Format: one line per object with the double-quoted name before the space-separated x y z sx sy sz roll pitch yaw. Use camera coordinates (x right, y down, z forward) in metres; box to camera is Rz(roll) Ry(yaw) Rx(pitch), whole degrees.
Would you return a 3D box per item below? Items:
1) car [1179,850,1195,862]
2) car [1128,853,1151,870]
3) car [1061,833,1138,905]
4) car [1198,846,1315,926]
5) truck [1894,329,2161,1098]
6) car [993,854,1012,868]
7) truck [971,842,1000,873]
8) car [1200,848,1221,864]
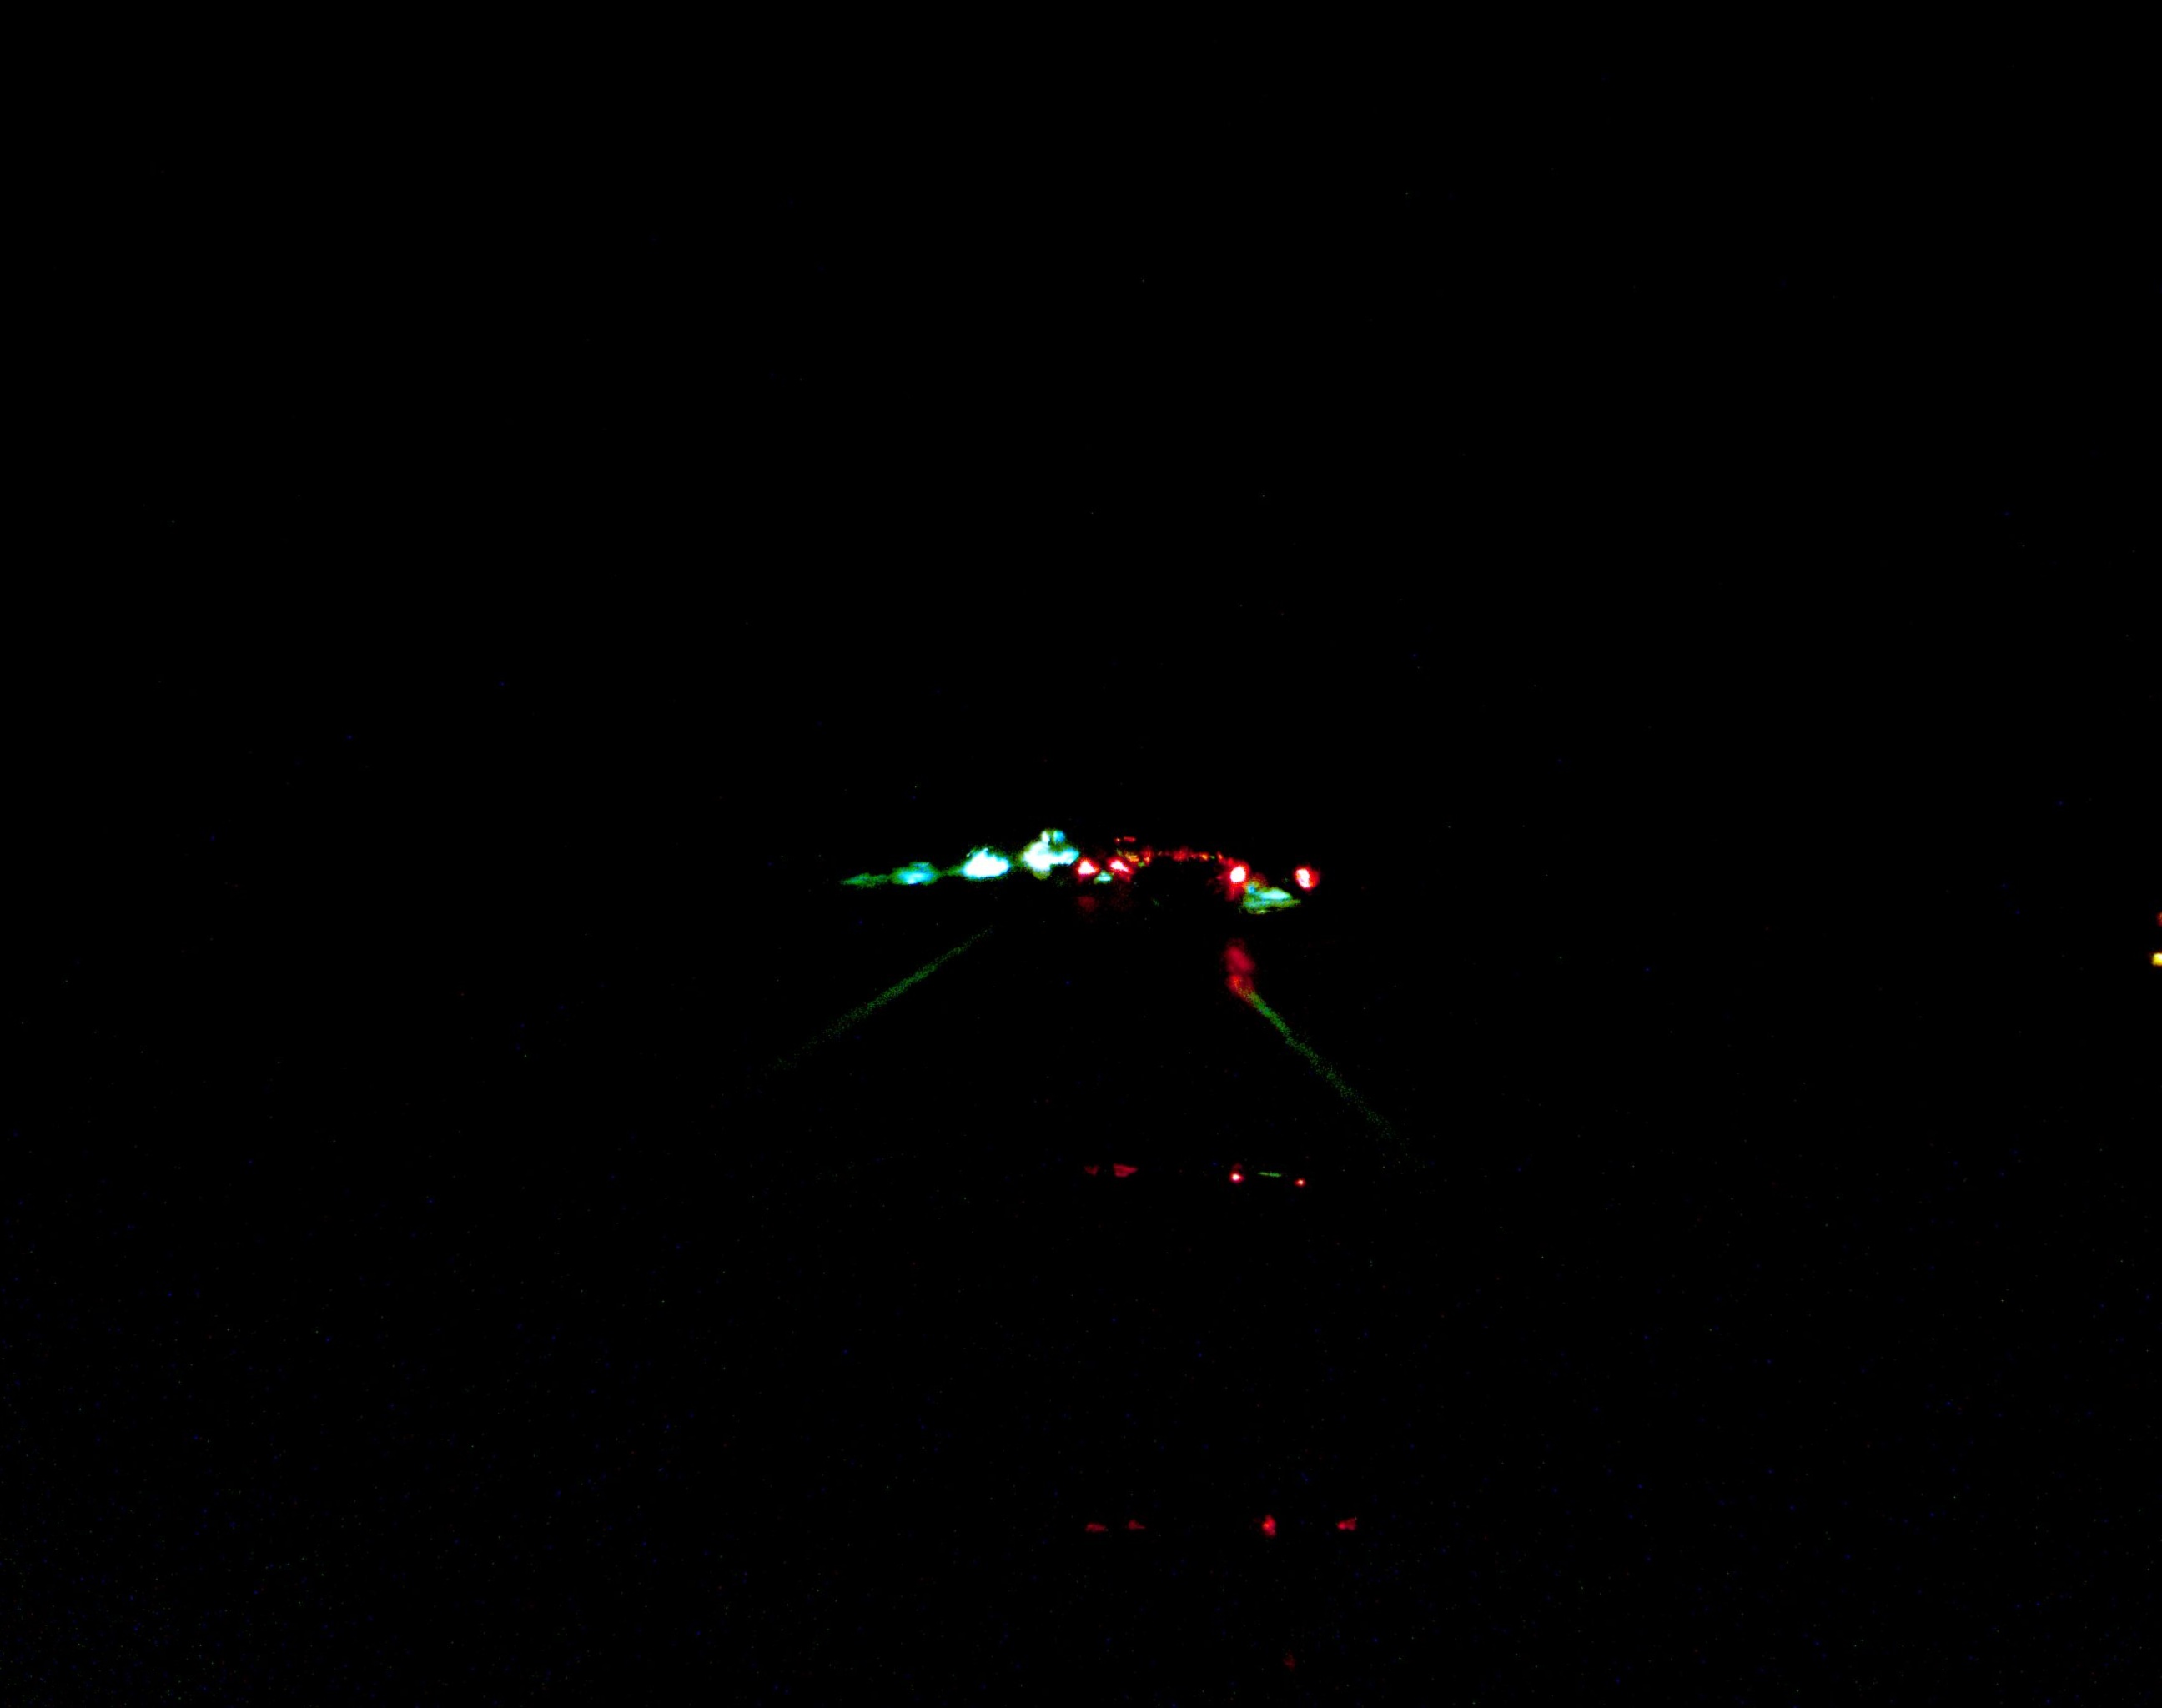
"car" 14.586 0.252 112.456 1.848 1.618 4.003 0 0 3
"car" 5.733 0.712 79.827 2.128 1.618 4.003 0 0 3
"car" 0.701 0.520 33.153 2.701 2.534 5.831 -3 0 0
"car" 3.821 0.630 18.399 1.877 1.588 4.001 -1 0 2
"truck" 7.337 -0.783 2.285 2.793 4.266 7.451 -1 0 2
"car" -9.902 0.876 102.661 1.790 1.574 3.975 -2 0 1
"truck" -13.499 0.417 115.528 2.910 4.094 6.996 -3 0 2
"car" 13.898 0.207 87.561 1.848 1.618 4.003 0 0 3
